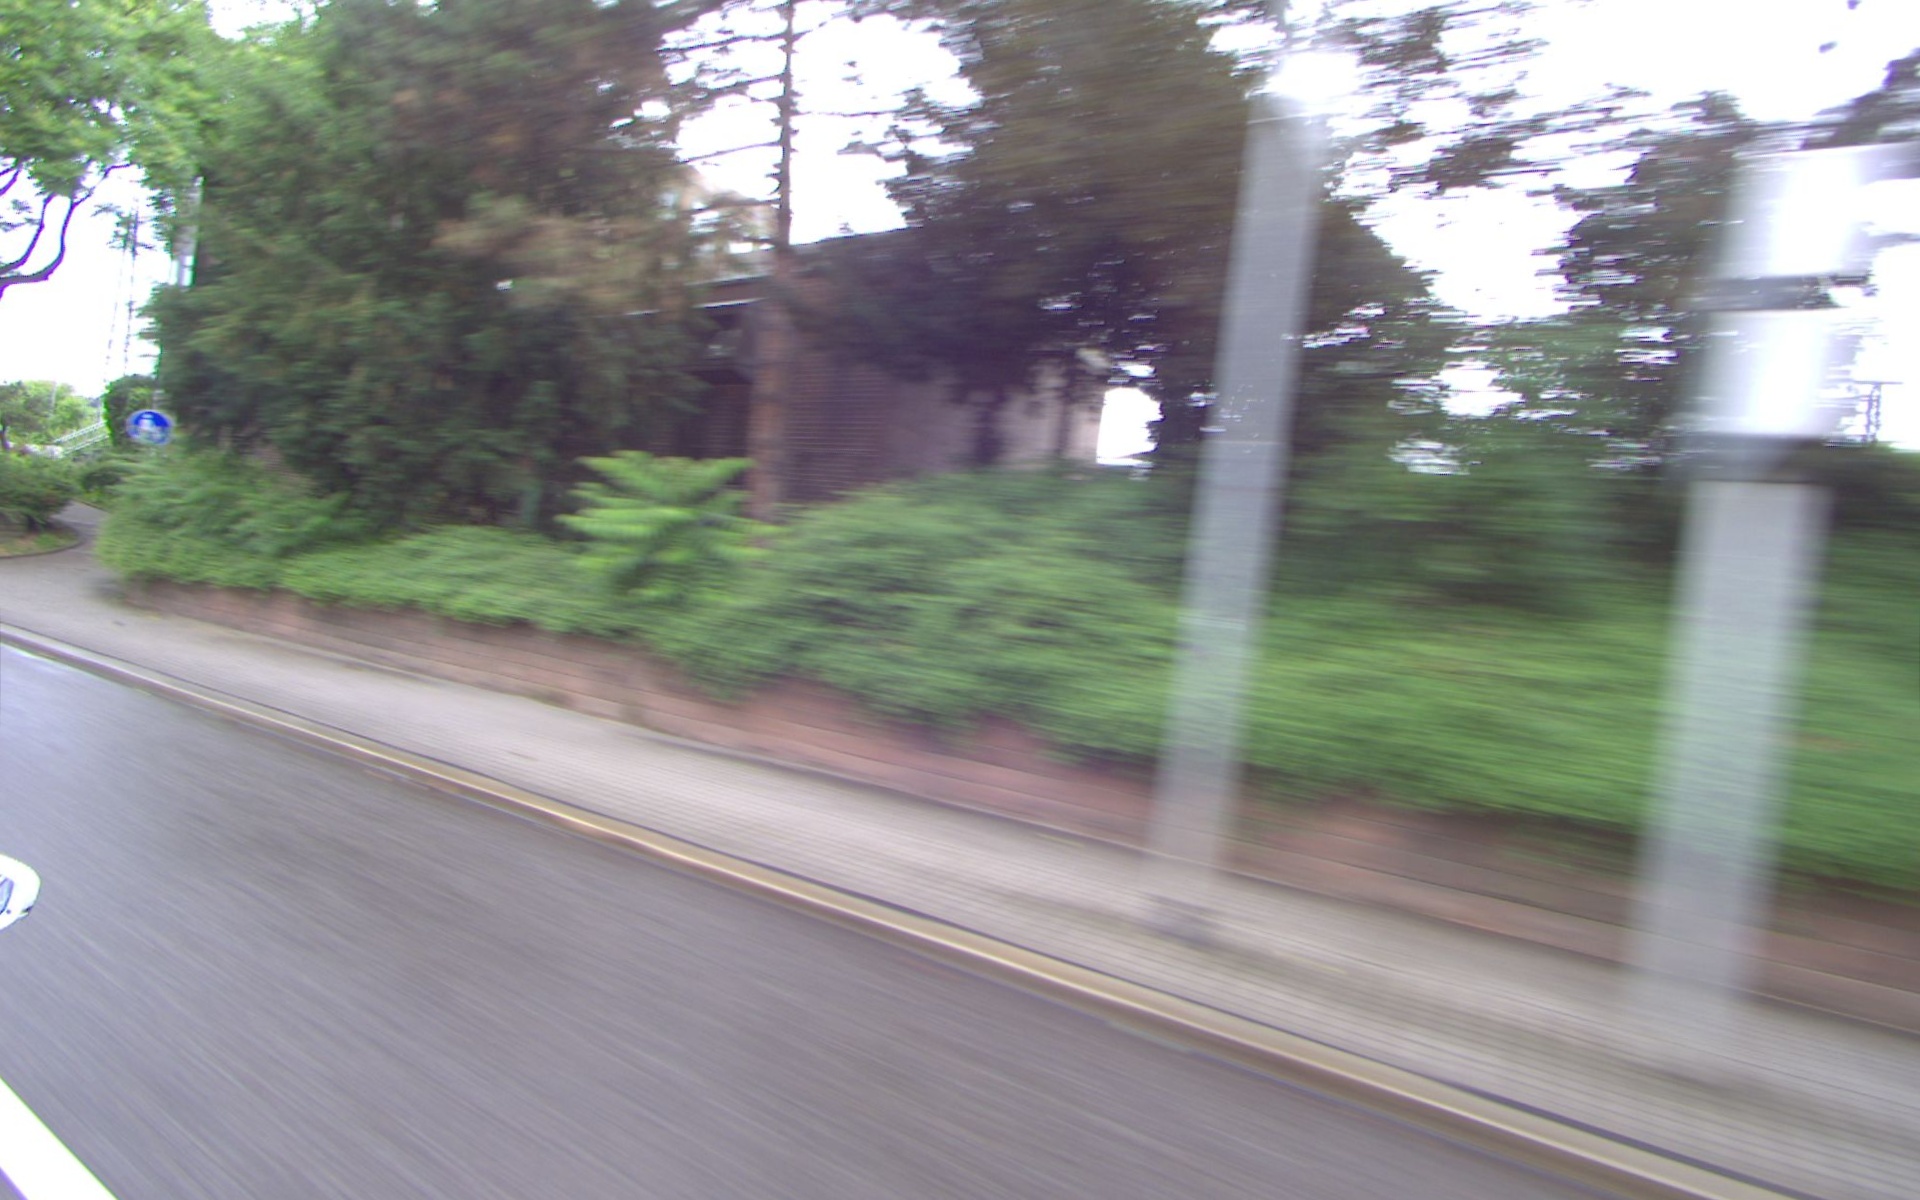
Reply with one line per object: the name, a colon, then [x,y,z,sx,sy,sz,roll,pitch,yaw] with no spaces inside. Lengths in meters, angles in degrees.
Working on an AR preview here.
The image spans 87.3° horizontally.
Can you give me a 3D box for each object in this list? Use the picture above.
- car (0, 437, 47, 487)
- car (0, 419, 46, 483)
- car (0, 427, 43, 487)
car: [-38.394,-5.622,39.415,1.617,1.726,3.620,7,-1,39]
car: [-34.846,-5.460,35.568,1.630,2.038,3.447,7,0,39]
car: [-36.800,-5.549,37.484,1.573,2.038,3.582,7,0,39]
